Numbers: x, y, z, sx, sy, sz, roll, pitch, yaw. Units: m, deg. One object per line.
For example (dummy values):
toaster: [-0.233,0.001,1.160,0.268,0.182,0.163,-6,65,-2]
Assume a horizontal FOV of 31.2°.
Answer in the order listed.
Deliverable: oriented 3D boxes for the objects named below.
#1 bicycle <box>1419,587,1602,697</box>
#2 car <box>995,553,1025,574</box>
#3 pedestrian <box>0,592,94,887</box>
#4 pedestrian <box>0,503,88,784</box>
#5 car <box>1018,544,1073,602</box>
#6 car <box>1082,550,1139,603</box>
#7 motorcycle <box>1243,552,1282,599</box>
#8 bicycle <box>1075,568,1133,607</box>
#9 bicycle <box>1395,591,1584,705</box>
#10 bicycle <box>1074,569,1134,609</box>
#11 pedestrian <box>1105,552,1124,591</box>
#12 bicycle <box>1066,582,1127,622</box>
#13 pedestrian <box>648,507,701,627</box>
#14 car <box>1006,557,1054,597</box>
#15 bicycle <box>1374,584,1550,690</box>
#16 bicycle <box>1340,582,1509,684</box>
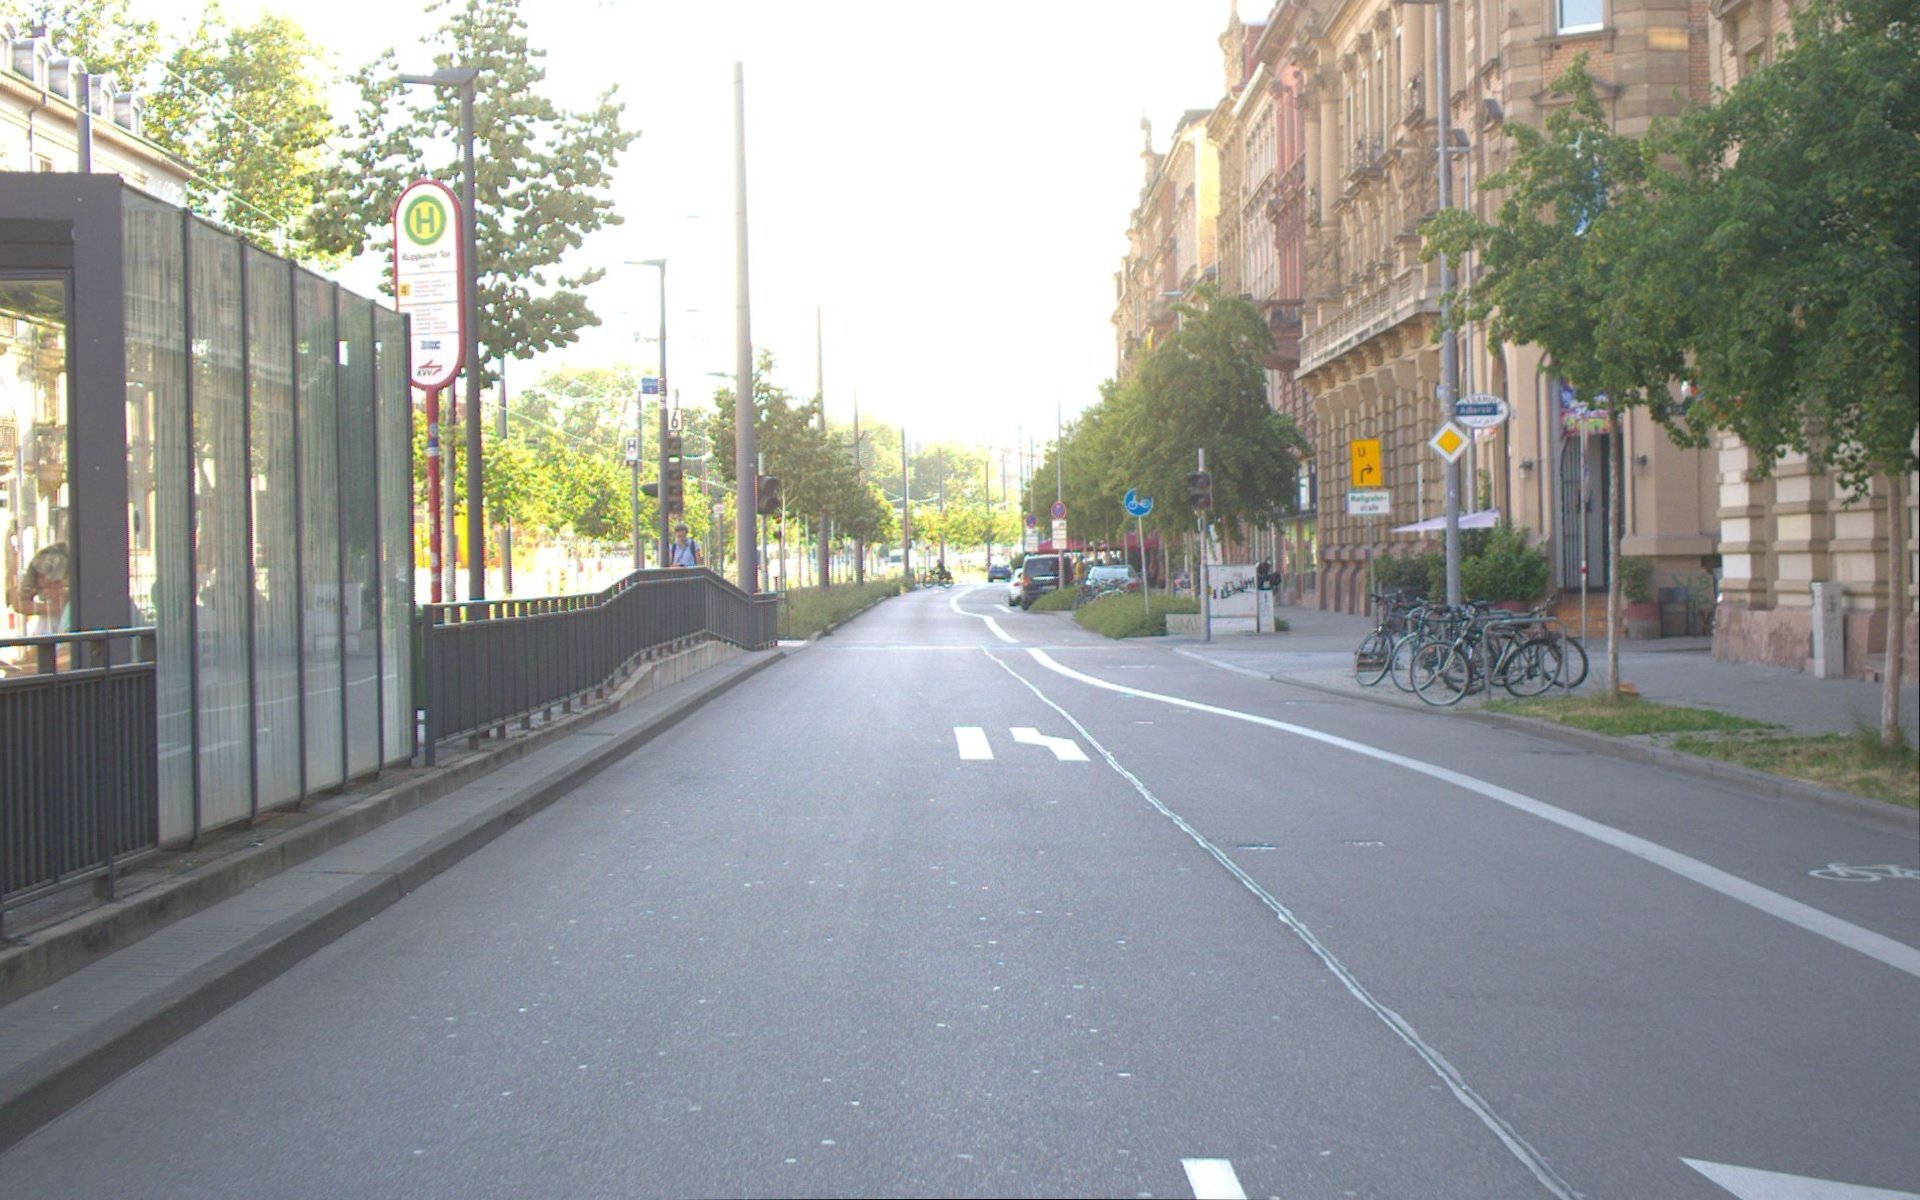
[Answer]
bicycle: [6.091,0.455,38.069,1.825,1.061,0.664,-4,2,-5]
car: [3.756,-2.719,255.865,1.798,1.459,3.999,-1,1,7]
pedestrian: [-3.796,0.565,14.172,0.406,1.186,0.430,-1,1,-13]
pedestrian: [-4.588,0.212,17.145,0.428,1.381,0.408,-1,1,-12]
car: [3.072,-0.988,123.240,1.885,1.930,4.473,-1,2,1]
car: [4.663,-0.747,106.827,1.637,1.481,4.211,-3,2,2]
motorcycle: [8.942,-0.730,101.723,0.795,1.304,2.852,-3,2,-1]
bicycle: [4.141,-0.359,98.847,1.576,1.044,0.489,-3,1,-8]
bicycle: [5.643,0.505,36.697,1.825,1.061,0.664,-4,2,-5]
bicycle: [4.068,-0.305,97.020,1.576,1.044,0.489,-3,1,-8]
pedestrian: [5.706,-1.053,127.038,0.625,1.455,0.638,-1,1,0]
bicycle: [4.033,0.072,101.731,1.691,1.044,0.489,-5,1,0]
pedestrian: [-3.944,-0.452,47.509,0.655,1.637,0.867,-1,-1,0]
car: [2.779,-0.932,136.651,1.849,1.452,4.156,-1,2,1]
bicycle: [5.754,0.424,39.453,1.825,1.061,0.664,-4,2,-5]
bicycle: [5.522,0.388,40.927,1.825,1.061,0.664,-4,2,-5]
